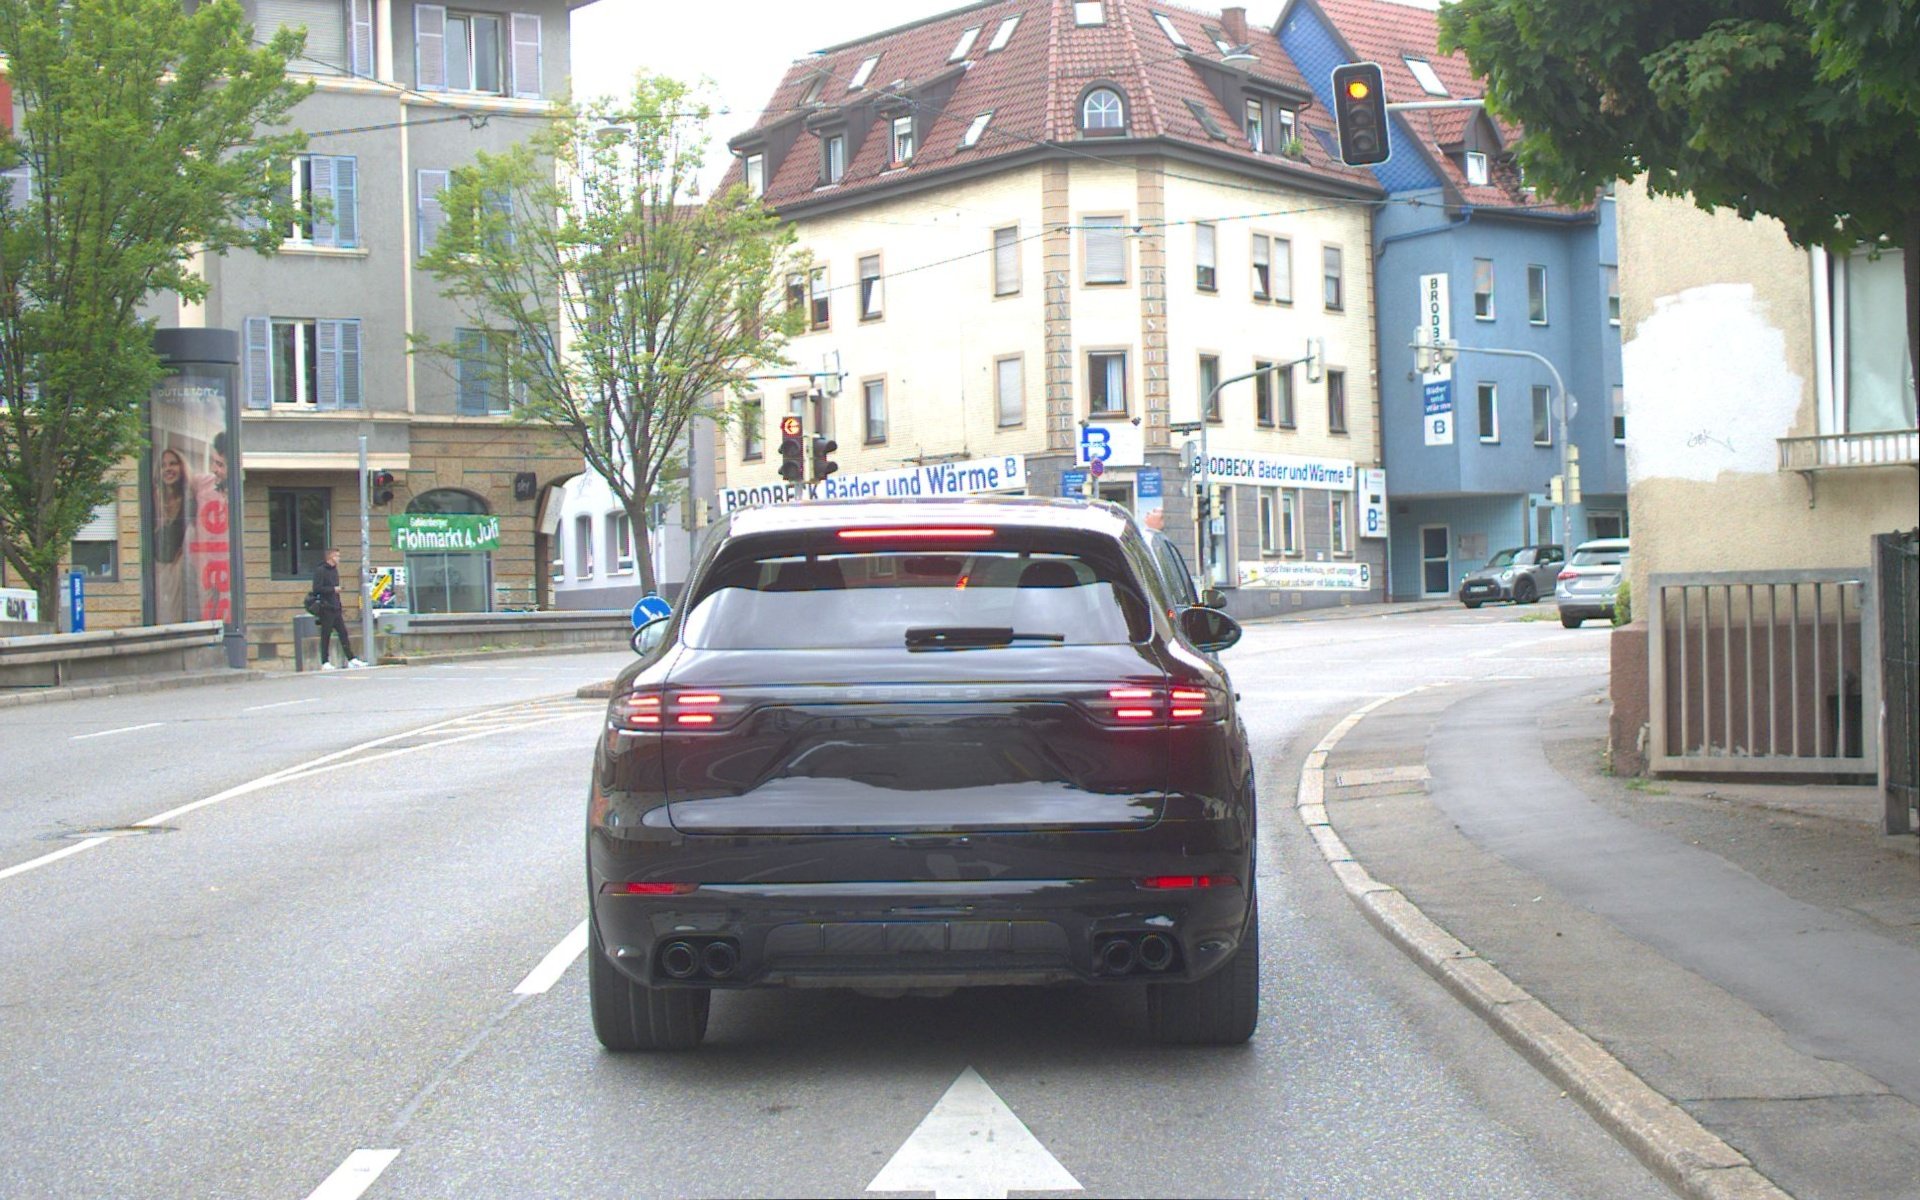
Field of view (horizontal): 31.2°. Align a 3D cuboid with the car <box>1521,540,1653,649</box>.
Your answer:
[{"bbox_3d":[10.170,-0.112,55.602,1.994,1.678,3.998,-1,1,11],"label":"car"}]

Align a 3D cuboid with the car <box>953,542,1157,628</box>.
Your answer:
[{"bbox_3d":[1.890,-0.297,69.372,1.994,1.678,3.999,0,0,-39],"label":"car"}]

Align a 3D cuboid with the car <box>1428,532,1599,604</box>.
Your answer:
[{"bbox_3d":[13.616,-0.791,84.464,3.988,1.678,1.999,-2,1,-40],"label":"car"}]

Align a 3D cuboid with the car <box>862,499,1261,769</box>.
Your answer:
[{"bbox_3d":[0.801,0.193,23.707,1.994,1.678,3.998,-1,1,13],"label":"car"}]

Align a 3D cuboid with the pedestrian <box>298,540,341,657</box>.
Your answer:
[{"bbox_3d":[-9.519,-0.021,51.095,0.513,1.724,0.451,1,0,4],"label":"pedestrian"}]

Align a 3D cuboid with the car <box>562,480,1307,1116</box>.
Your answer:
[{"bbox_3d":[-0.090,0.484,11.283,1.978,1.678,4.000,-1,1,-1],"label":"car"}]
